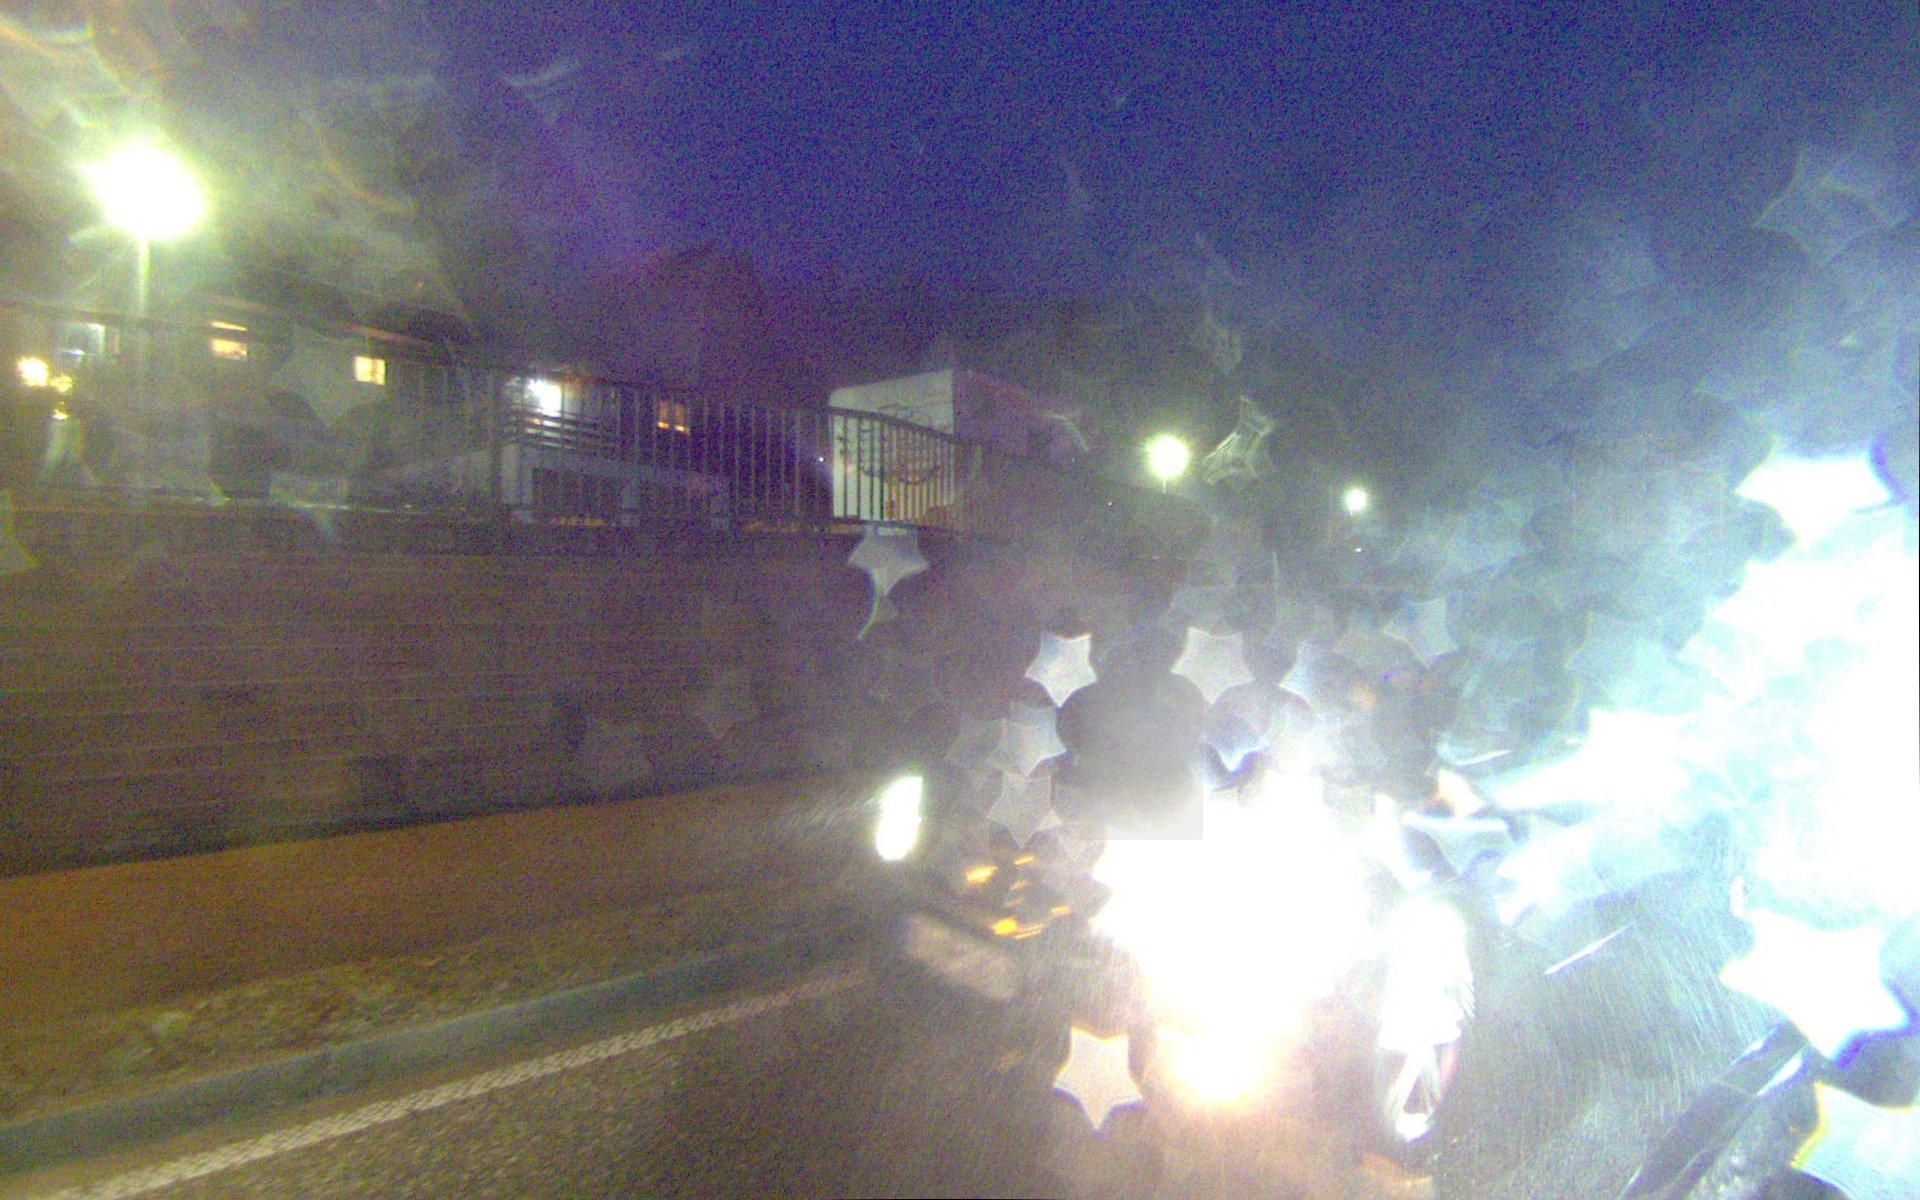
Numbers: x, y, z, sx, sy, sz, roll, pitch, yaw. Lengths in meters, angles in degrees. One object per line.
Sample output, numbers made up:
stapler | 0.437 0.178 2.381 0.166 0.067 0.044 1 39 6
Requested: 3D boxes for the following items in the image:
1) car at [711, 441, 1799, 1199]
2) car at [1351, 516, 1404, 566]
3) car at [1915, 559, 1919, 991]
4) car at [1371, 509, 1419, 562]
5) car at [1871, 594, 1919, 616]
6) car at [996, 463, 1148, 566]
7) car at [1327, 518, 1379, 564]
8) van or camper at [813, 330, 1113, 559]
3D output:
car | 1.650 0.569 4.064 4.854 1.757 1.838 -1 0 -40
car | 22.461 -3.130 54.374 1.922 2.451 4.206 0 0 32
car | 5.750 0.626 4.456 4.278 1.602 1.825 -1 0 -41
car | 25.348 -3.689 58.882 1.922 2.809 4.206 0 0 32
car | 92.906 0.460 99.972 1.960 2.039 4.005 0 0 -6
car | 2.684 -1.863 23.421 1.985 2.039 3.954 0 0 32
car | 19.429 -2.864 49.902 1.721 2.039 3.658 0 0 32
van or camper | 0.328 -2.184 16.450 2.395 2.828 5.712 0 0 30
